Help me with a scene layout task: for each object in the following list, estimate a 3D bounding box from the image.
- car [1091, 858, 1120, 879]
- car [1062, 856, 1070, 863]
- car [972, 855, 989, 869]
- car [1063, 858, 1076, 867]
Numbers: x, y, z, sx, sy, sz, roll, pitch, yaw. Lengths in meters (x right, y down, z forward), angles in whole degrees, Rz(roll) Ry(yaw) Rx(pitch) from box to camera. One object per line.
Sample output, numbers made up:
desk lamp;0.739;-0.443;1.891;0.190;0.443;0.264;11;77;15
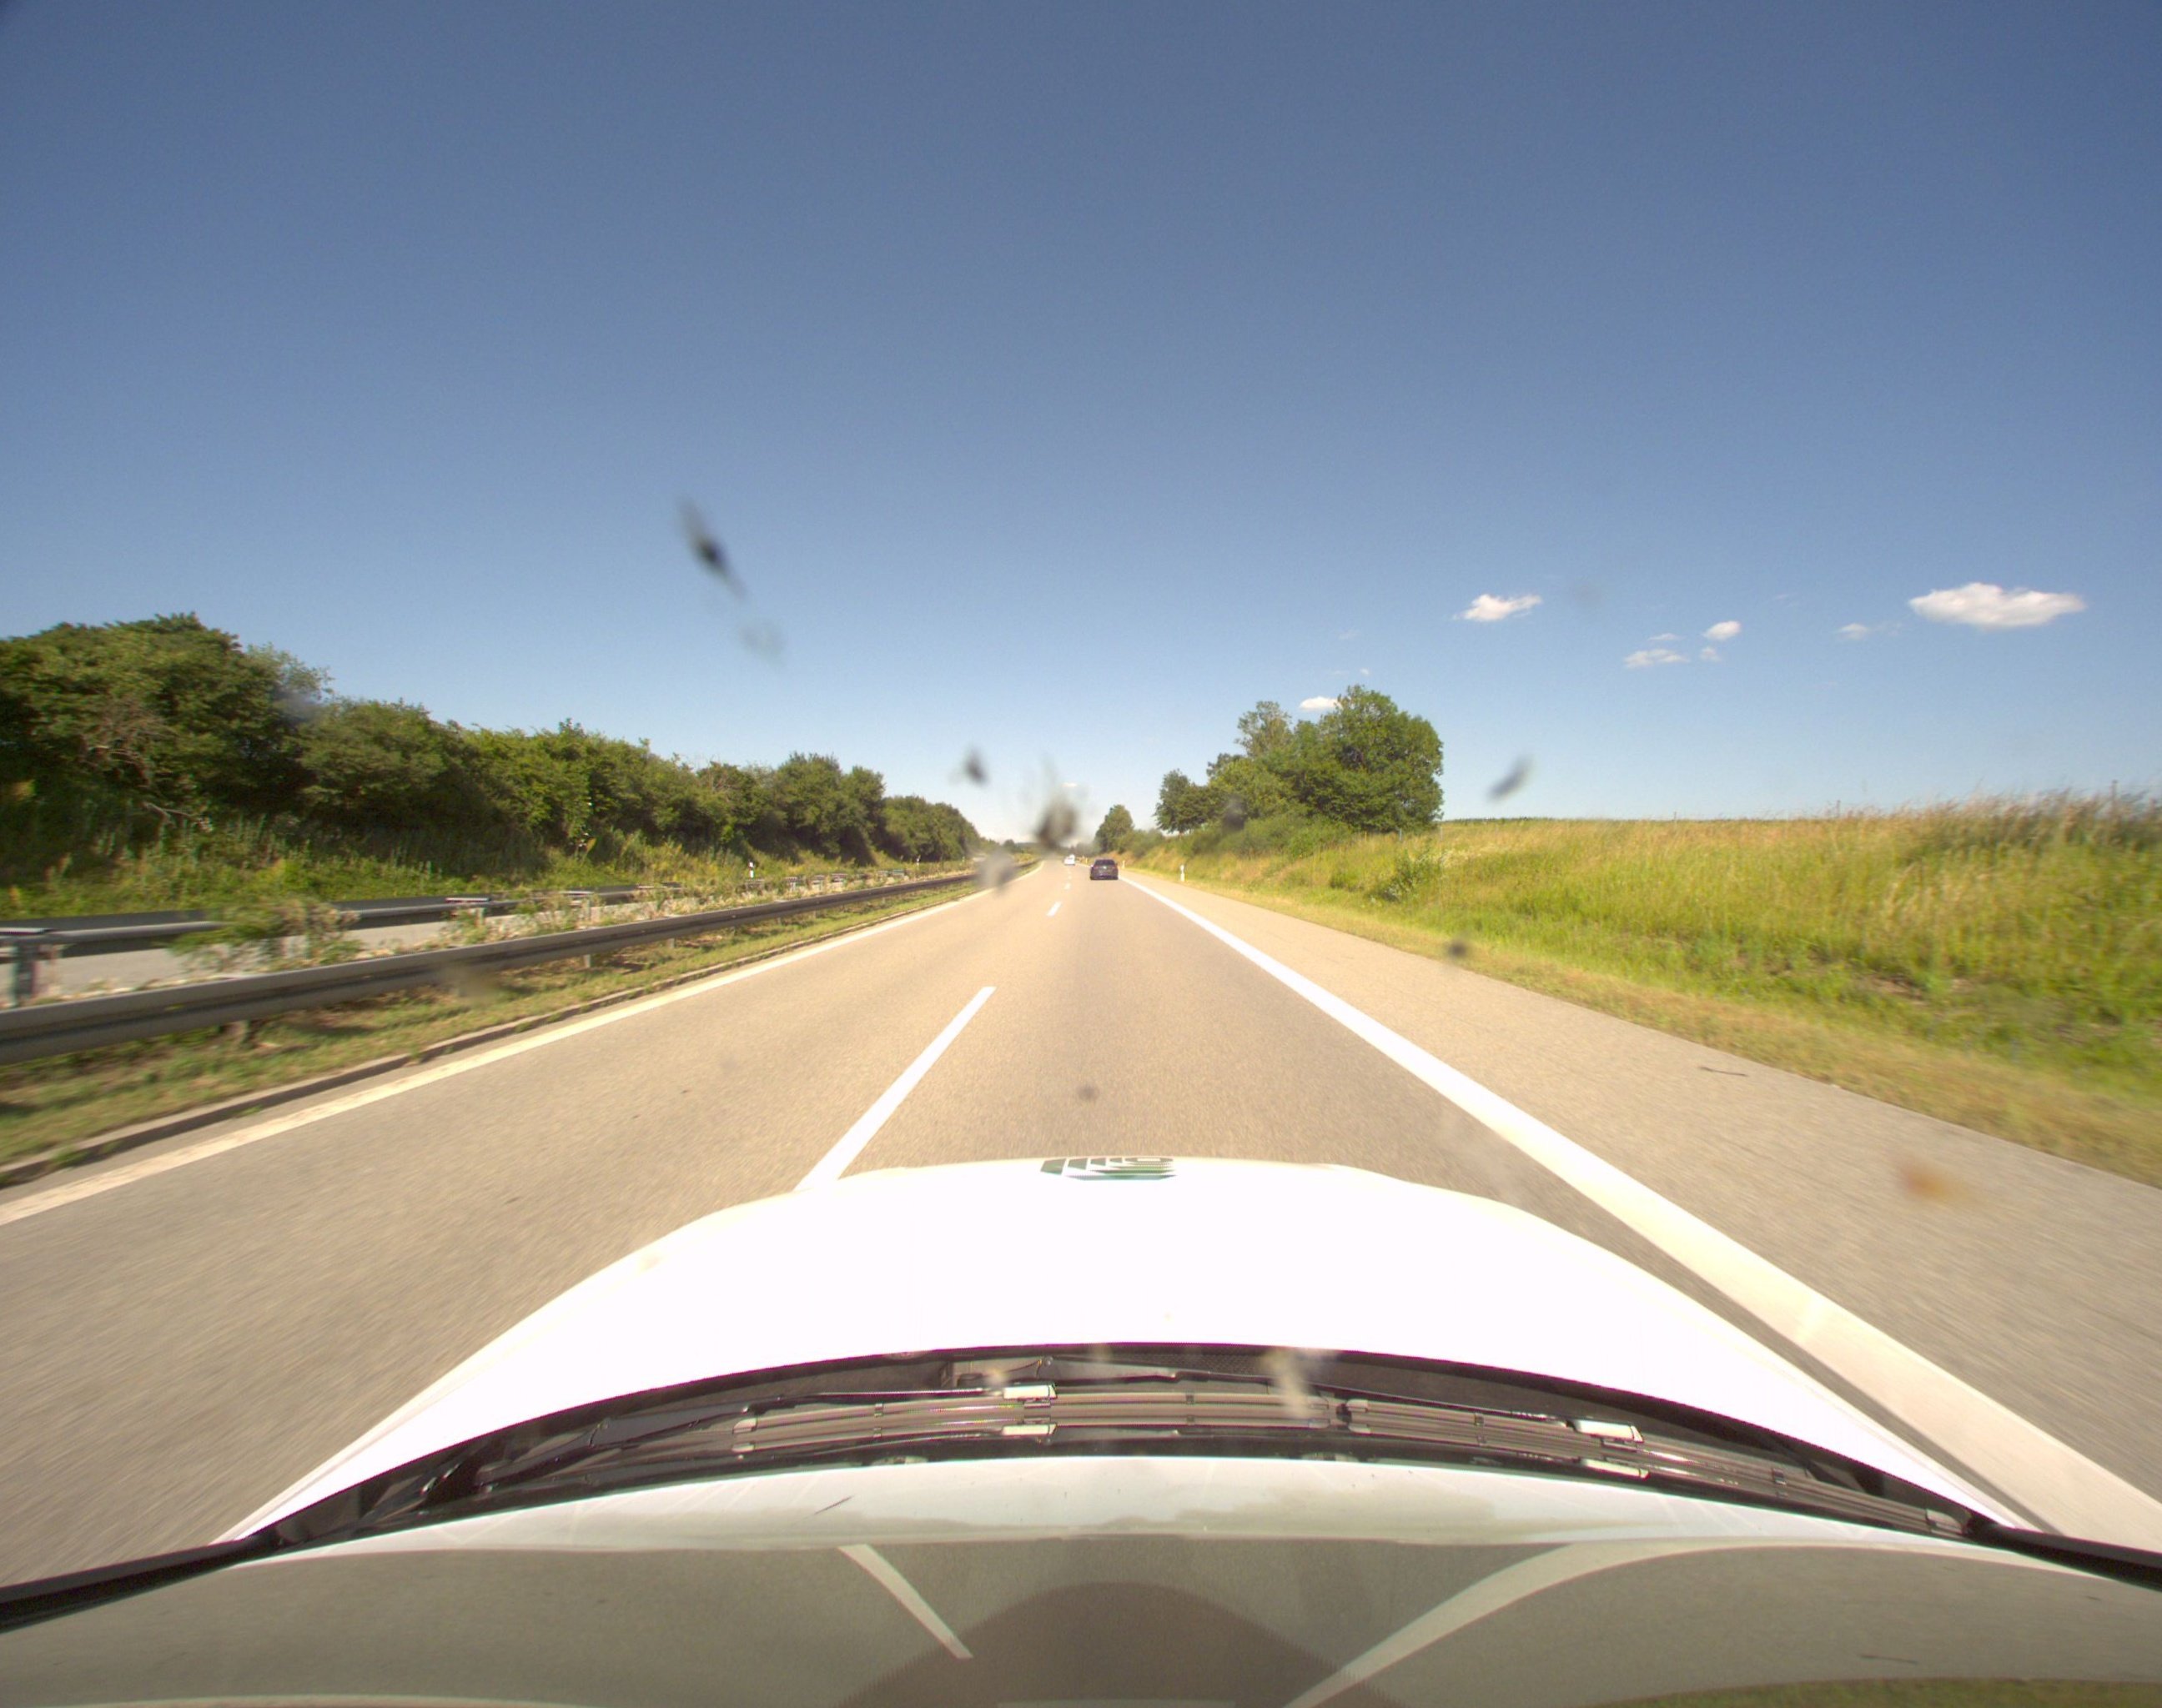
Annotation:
car;1.595;0.953;54.134;1.785;1.344;4.000;-1;-1;1
car;-3.550;1.364;192.267;1.705;1.387;3.355;5;-1;1
car;-15.235;1.206;123.570;1.987;2.014;4.853;0;0;-1
car;-2.038;1.423;139.848;2.002;1.344;3.996;3;-1;-2
